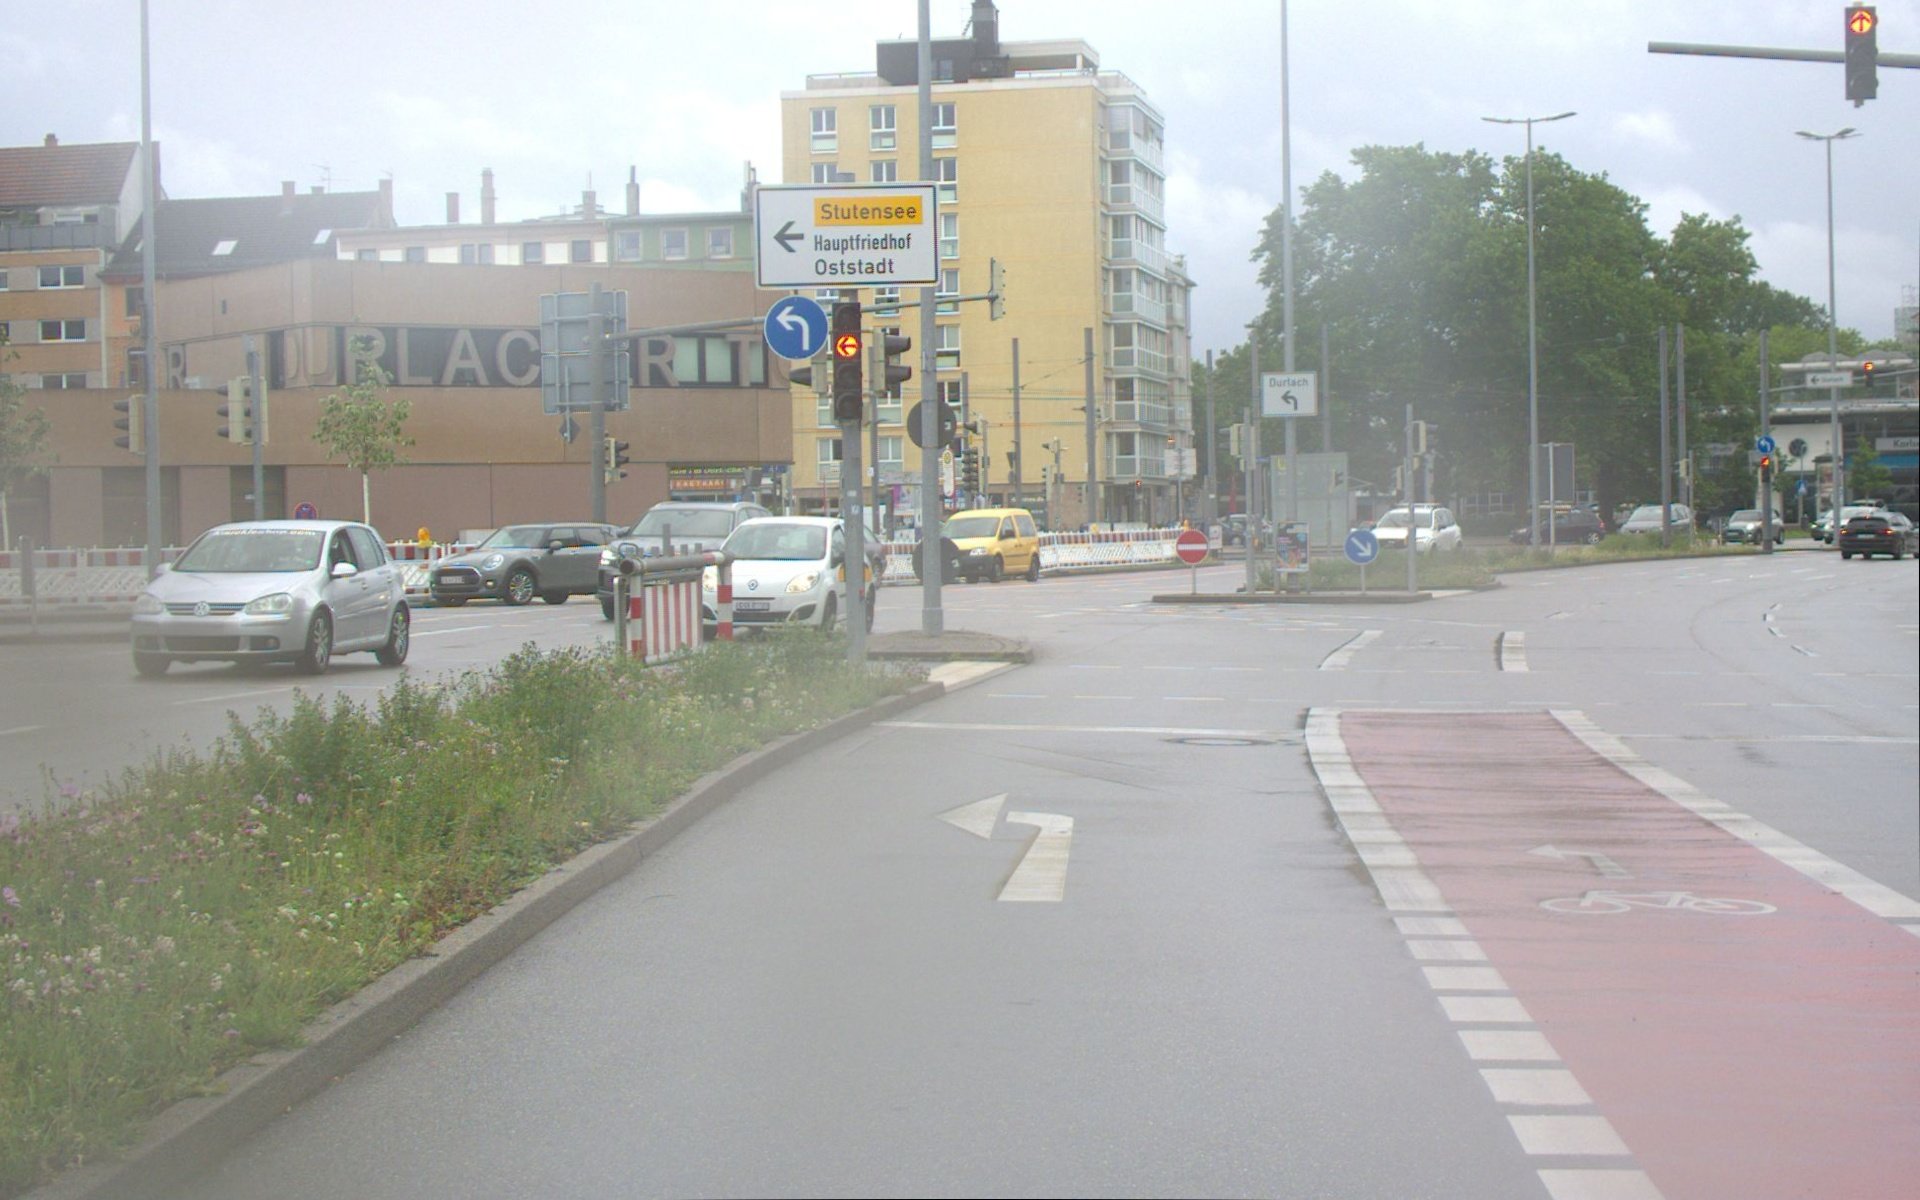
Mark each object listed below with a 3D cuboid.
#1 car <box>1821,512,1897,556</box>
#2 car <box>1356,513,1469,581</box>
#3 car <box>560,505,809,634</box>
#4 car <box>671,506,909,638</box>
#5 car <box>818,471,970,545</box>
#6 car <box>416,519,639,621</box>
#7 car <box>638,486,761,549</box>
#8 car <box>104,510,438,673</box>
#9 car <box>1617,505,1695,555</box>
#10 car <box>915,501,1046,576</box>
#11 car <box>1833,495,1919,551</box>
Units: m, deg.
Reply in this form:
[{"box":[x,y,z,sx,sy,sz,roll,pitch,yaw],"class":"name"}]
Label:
[{"box":[36.004,-2.662,137.662,1.697,1.410,4.177,0,5,33],"class":"car"},{"box":[12.397,-1.466,93.900,1.828,1.676,5.160,-2,1,21],"class":"car"},{"box":[-3.849,-0.470,48.904,1.995,1.630,4.600,-2,1,16],"class":"car"},{"box":[-2.040,-0.378,42.473,1.680,1.496,3.865,-1,2,17],"class":"car"},{"box":[-3.099,-4.331,161.795,6.743,3.368,2.809,-1,2,8],"class":"car"},{"box":[-7.560,-0.547,60.364,1.709,1.700,3.812,0,2,36],"class":"car"},{"box":[-12.367,-3.920,163.379,5.352,2.877,2.338,-1,2,8],"class":"car"},{"box":[-6.530,-0.123,33.042,1.680,1.399,4.156,-2,2,10],"class":"car"},{"box":[26.409,-2.671,130.364,1.696,1.684,4.177,0,3,29],"class":"car"},{"box":[0.523,-1.484,81.813,1.707,1.700,4.148,0,2,22],"class":"car"},{"box":[27.799,-2.353,104.100,1.792,1.637,4.153,0,2,27],"class":"car"}]
